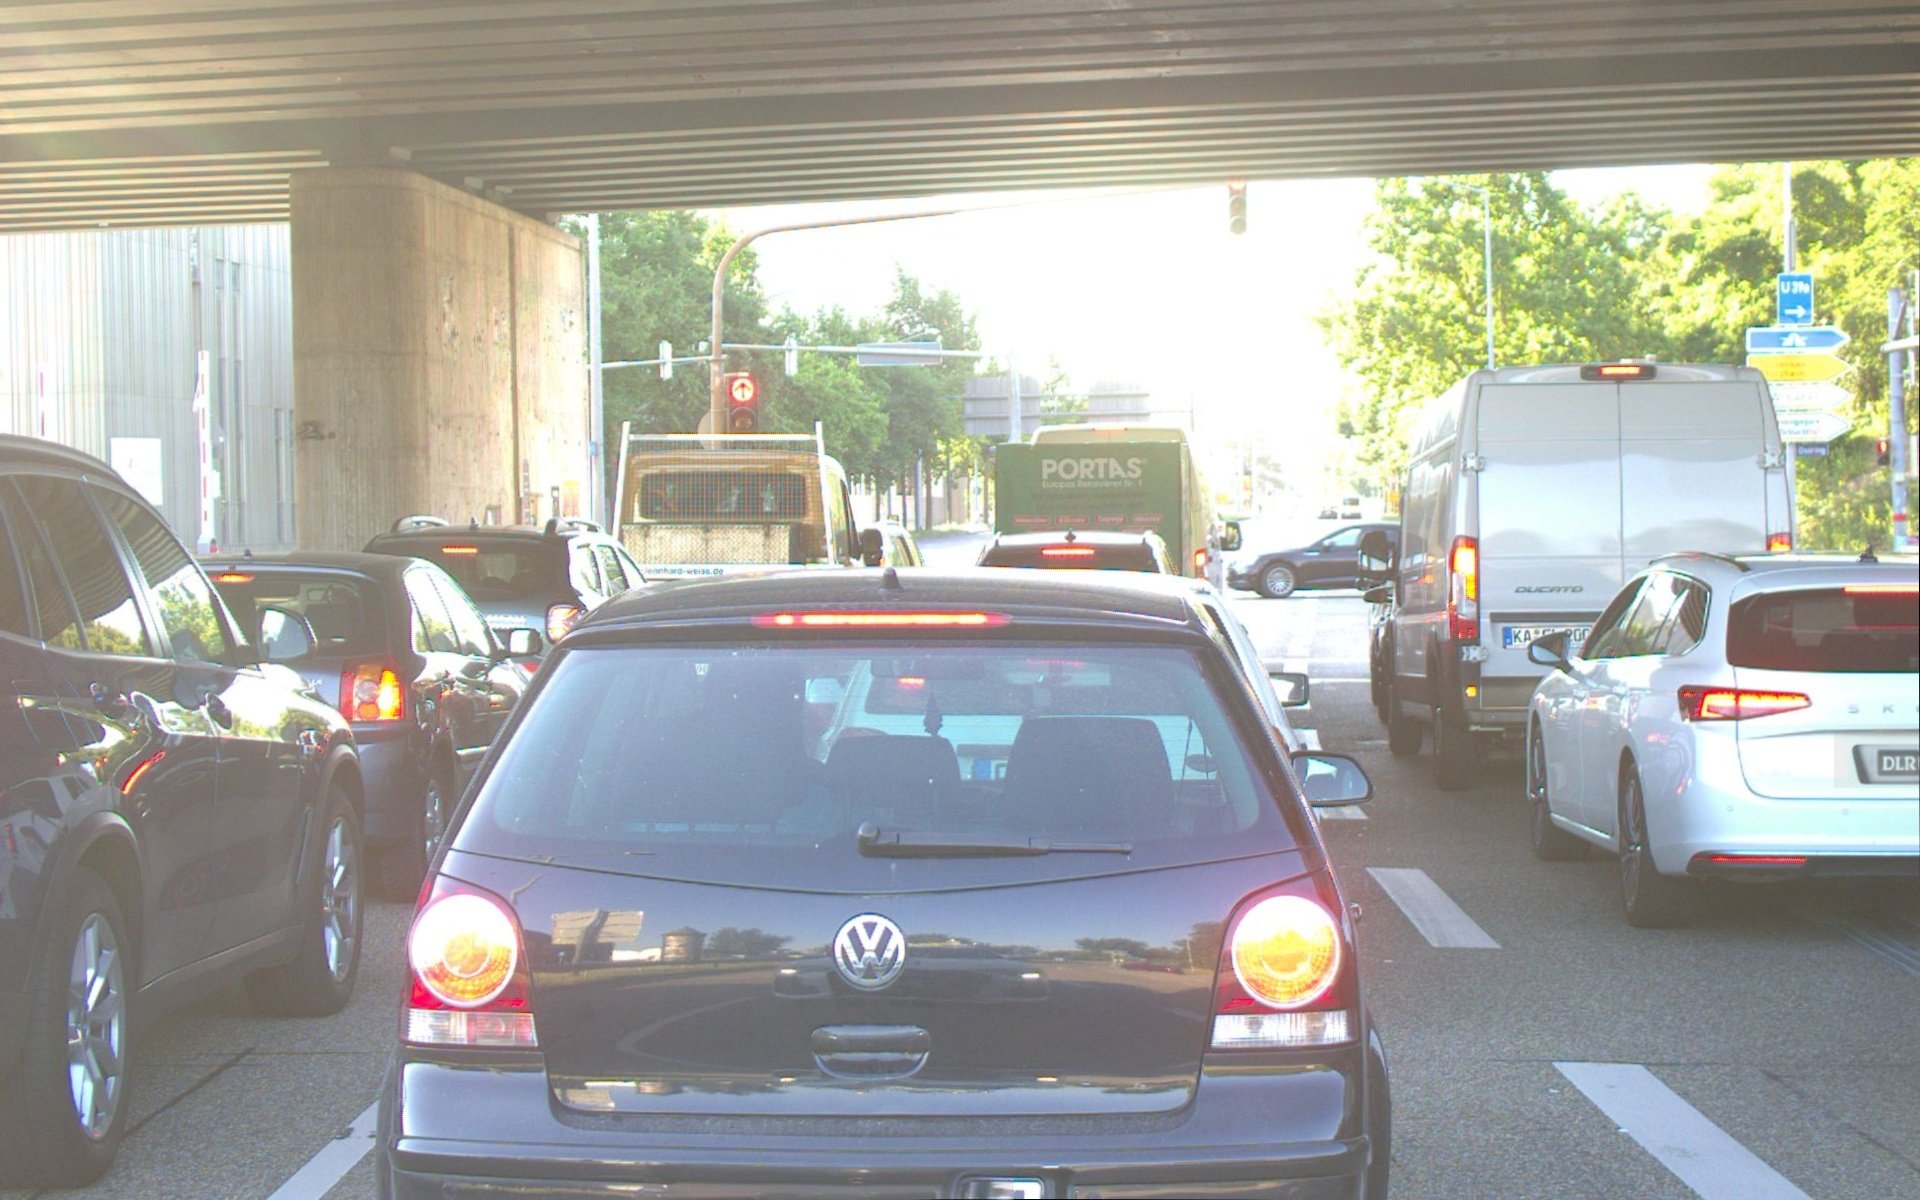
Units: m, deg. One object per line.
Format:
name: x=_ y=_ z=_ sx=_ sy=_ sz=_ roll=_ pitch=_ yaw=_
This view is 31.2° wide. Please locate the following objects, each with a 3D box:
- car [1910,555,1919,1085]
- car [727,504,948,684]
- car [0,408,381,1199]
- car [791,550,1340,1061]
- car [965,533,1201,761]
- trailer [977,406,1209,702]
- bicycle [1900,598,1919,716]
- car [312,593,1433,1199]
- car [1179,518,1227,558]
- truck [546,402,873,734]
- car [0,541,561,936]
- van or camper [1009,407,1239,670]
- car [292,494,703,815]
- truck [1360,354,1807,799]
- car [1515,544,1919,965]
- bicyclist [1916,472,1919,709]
car: x=3.481 y=0.669 z=7.190 sx=1.740 sy=1.449 sz=4.606 roll=0 pitch=2 yaw=0
car: x=-1.308 y=-0.064 z=38.558 sx=1.994 sy=1.894 sz=3.999 roll=-1 pitch=0 yaw=5
car: x=-2.850 y=0.480 z=9.066 sx=1.829 sy=1.732 sz=4.461 roll=-1 pitch=0 yaw=1
car: x=0.368 y=0.589 z=11.939 sx=1.547 sy=1.418 sz=3.417 roll=-4 pitch=1 yaw=2
car: x=0.928 y=0.314 z=24.975 sx=1.582 sy=1.527 sz=3.831 roll=0 pitch=0 yaw=3
trailer: x=1.270 y=-0.397 z=31.195 sx=1.864 sy=2.456 sz=3.831 roll=-2 pitch=0 yaw=5
bicycle: x=8.016 y=0.462 z=27.350 sx=0.579 sy=0.960 sz=2.885 roll=-1 pitch=0 yaw=6
car: x=-0.157 y=0.693 z=6.768 sx=1.581 sy=1.404 sz=3.832 roll=0 pitch=0 yaw=-1
car: x=8.457 y=-2.146 z=119.974 sx=1.339 sy=1.277 sz=2.893 roll=-4 pitch=0 yaw=-1
truck: x=-2.005 y=-0.255 z=29.325 sx=2.028 sy=2.548 sz=5.536 roll=0 pitch=0 yaw=4
car: x=-2.956 y=0.537 z=15.321 sx=1.841 sy=1.435 sz=3.675 roll=-4 pitch=0 yaw=0
van or camper: x=1.845 y=-0.616 z=36.692 sx=1.994 sy=2.562 sz=5.916 roll=0 pitch=0 yaw=7
car: x=-2.791 y=0.298 z=21.601 sx=1.841 sy=1.713 sz=4.000 roll=-4 pitch=0 yaw=2
truck: x=3.868 y=-0.148 z=22.133 sx=2.111 sy=2.511 sz=4.401 roll=-2 pitch=0 yaw=2
car: x=3.440 y=0.540 z=14.276 sx=1.772 sy=1.490 sz=3.831 roll=-2 pitch=0 yaw=3
bicyclist: x=8.020 y=-0.075 z=27.308 sx=0.682 sy=1.900 sz=0.833 roll=0 pitch=0 yaw=6
